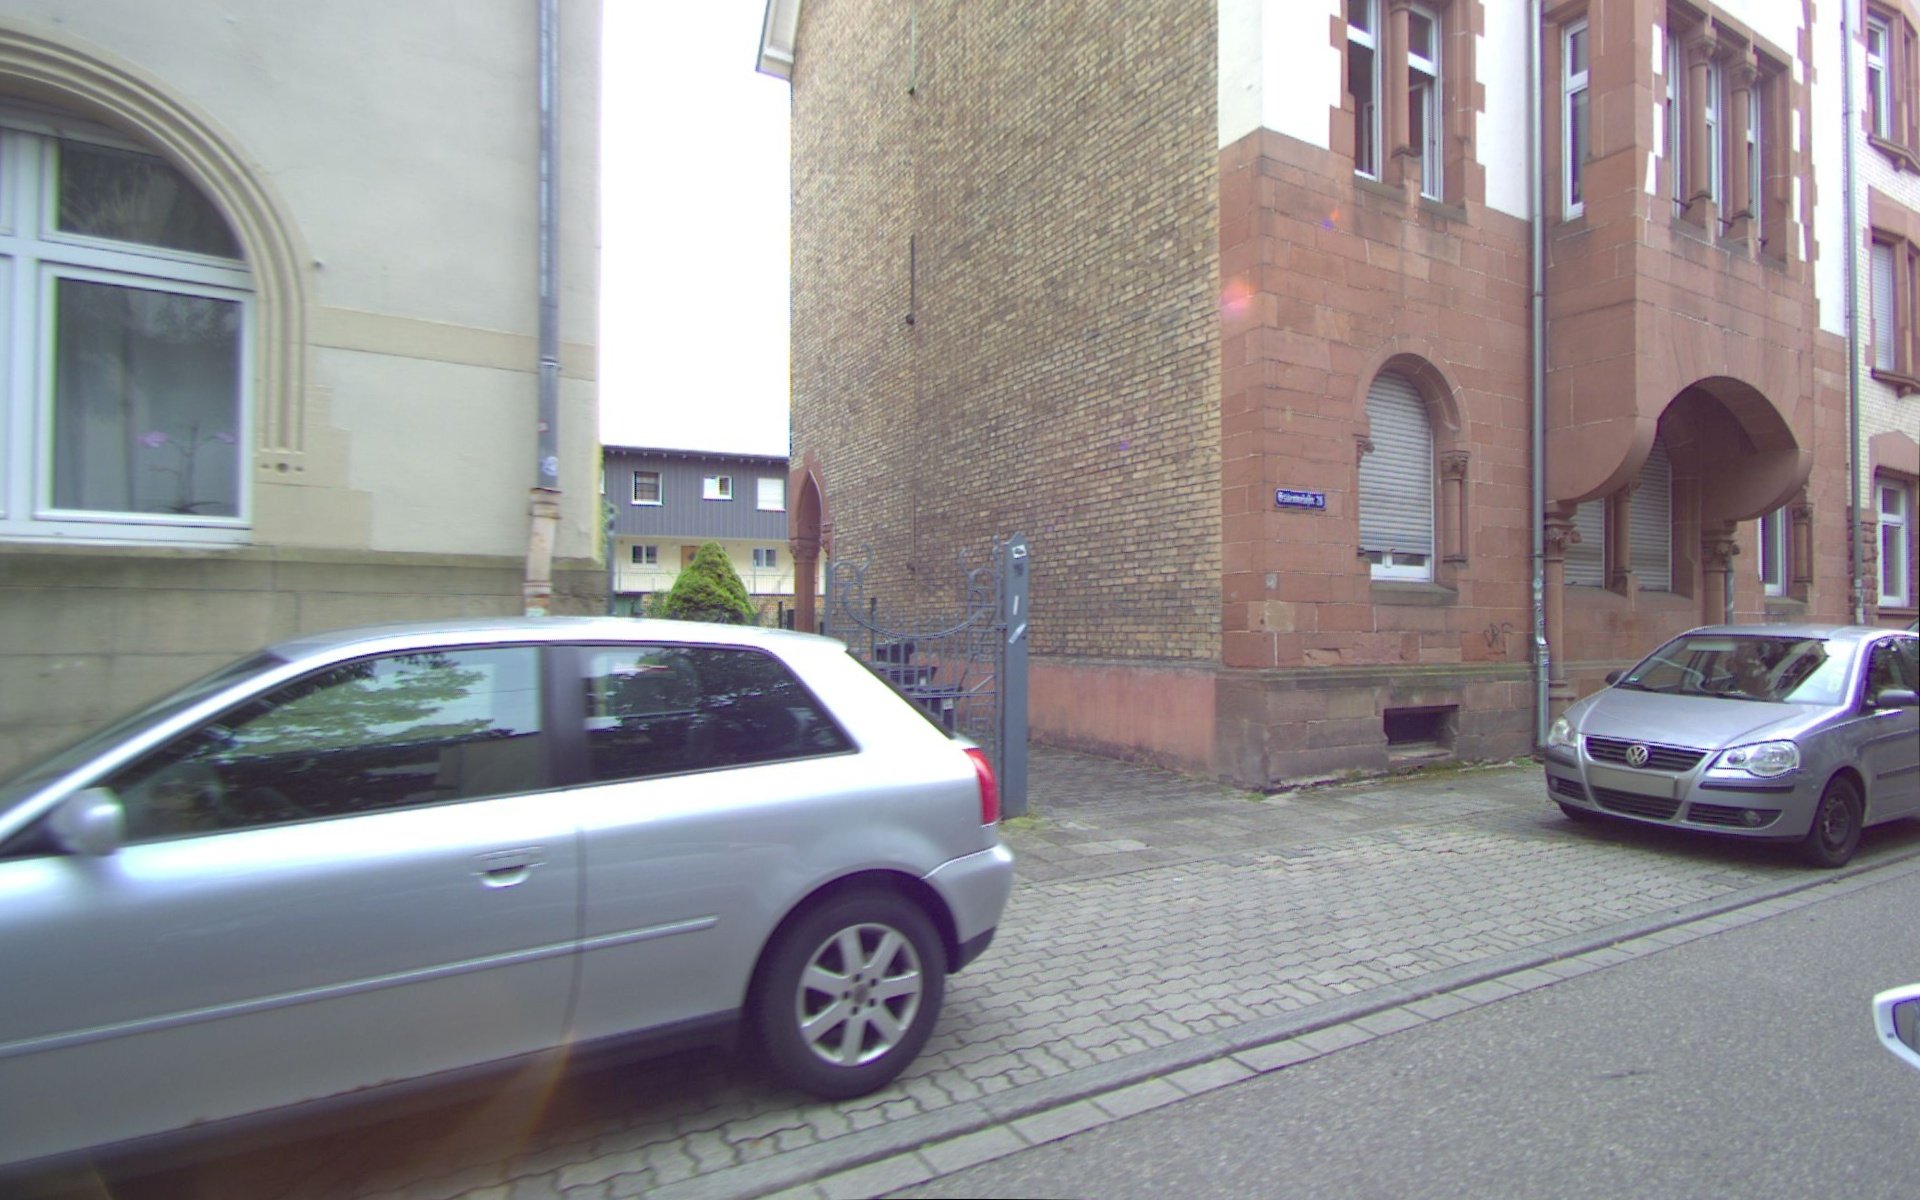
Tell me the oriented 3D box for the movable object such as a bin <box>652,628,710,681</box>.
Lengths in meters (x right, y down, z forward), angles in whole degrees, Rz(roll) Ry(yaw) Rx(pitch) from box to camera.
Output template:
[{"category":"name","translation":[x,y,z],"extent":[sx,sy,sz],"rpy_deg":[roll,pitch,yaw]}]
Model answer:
[{"category":"movable object such as a bin","translation":[-7.231,1.387,26.032],"extent":[1.202,1.308,1.237],"rpy_deg":[1,-1,-29]}]

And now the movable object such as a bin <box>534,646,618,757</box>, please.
[{"category":"movable object such as a bin","translation":[-3.967,1.026,10.362],"extent":[0.721,1.069,0.611],"rpy_deg":[1,-1,-30]}]

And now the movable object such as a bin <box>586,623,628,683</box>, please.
[{"category":"movable object such as a bin","translation":[-8.227,1.226,23.407],"extent":[0.804,1.355,0.830],"rpy_deg":[1,-1,-29]}]

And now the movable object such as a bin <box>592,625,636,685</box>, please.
[{"category":"movable object such as a bin","translation":[-7.770,1.212,22.532],"extent":[0.804,1.311,0.830],"rpy_deg":[1,-1,-29]}]

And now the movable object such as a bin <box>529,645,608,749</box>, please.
[{"category":"movable object such as a bin","translation":[-4.331,1.048,11.098],"extent":[0.721,1.069,0.611],"rpy_deg":[1,-1,-30]}]

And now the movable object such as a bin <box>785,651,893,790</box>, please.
[{"category":"movable object such as a bin","translation":[-1.017,0.979,8.414],"extent":[0.721,1.069,0.611],"rpy_deg":[1,-1,-30]}]

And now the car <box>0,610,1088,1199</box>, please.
[{"category":"car","translation":[-1.768,0.752,3.056],"extent":[4.087,1.405,1.718],"rpy_deg":[1,0,-30]}]

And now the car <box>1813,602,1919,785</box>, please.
[{"category":"car","translation":[10.670,0.886,10.191],"extent":[4.311,1.669,1.777],"rpy_deg":[1,0,-31]}]

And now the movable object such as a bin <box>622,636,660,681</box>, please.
[{"category":"movable object such as a bin","translation":[-8.110,1.469,25.511],"extent":[0.750,1.072,1.038],"rpy_deg":[1,-1,-29]}]

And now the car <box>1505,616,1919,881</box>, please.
[{"category":"car","translation":[5.880,0.859,7.279],"extent":[3.883,1.440,1.654],"rpy_deg":[1,0,-31]}]

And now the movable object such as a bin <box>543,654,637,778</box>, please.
[{"category":"movable object such as a bin","translation":[-3.465,1.058,9.401],"extent":[0.721,1.069,0.611],"rpy_deg":[1,-1,-30]}]
